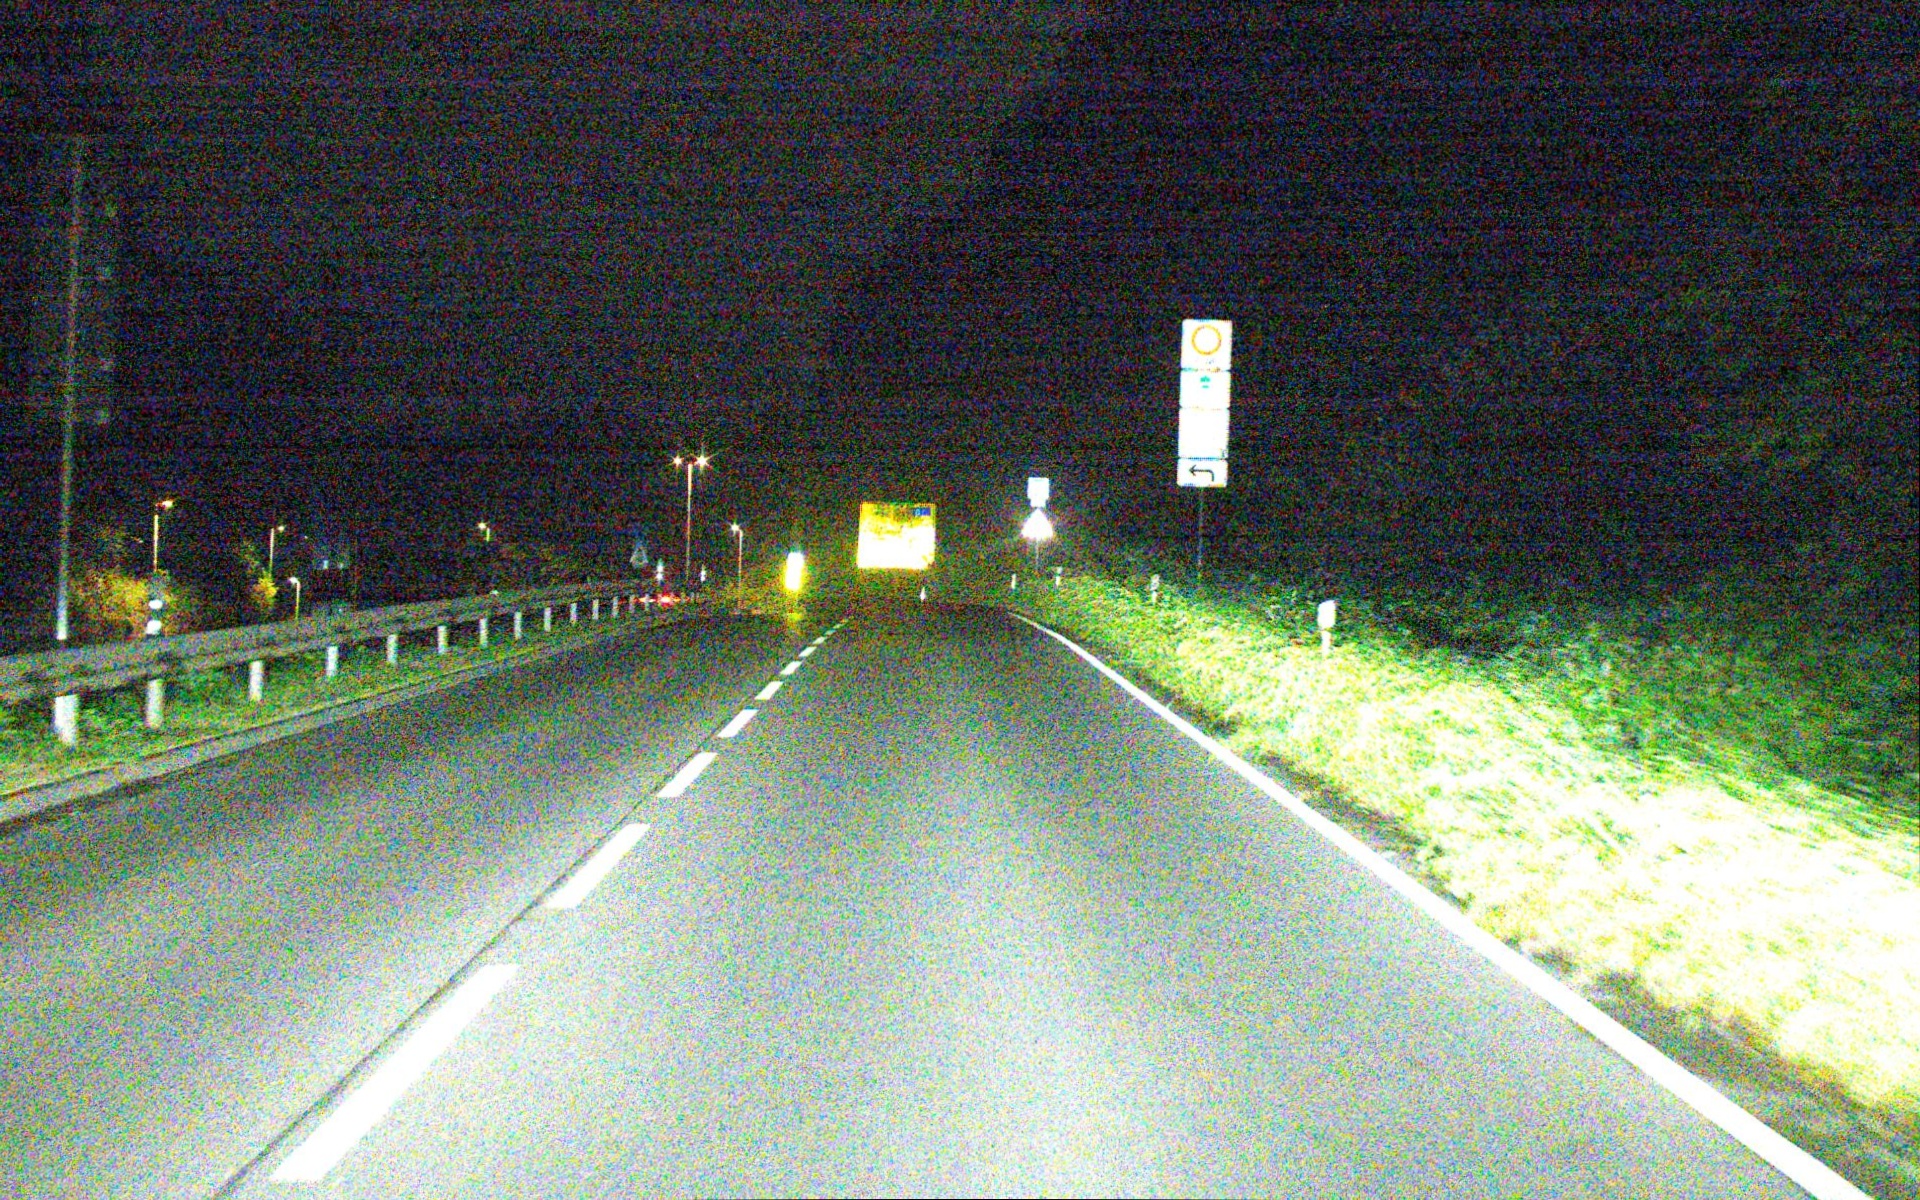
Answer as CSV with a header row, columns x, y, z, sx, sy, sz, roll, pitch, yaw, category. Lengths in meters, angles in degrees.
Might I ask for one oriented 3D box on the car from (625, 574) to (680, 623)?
x,y,z,sx,sy,sz,roll,pitch,yaw,category
-13.856,-0.062,154.626,1.993,2.007,4.001,3,-2,-10,car
